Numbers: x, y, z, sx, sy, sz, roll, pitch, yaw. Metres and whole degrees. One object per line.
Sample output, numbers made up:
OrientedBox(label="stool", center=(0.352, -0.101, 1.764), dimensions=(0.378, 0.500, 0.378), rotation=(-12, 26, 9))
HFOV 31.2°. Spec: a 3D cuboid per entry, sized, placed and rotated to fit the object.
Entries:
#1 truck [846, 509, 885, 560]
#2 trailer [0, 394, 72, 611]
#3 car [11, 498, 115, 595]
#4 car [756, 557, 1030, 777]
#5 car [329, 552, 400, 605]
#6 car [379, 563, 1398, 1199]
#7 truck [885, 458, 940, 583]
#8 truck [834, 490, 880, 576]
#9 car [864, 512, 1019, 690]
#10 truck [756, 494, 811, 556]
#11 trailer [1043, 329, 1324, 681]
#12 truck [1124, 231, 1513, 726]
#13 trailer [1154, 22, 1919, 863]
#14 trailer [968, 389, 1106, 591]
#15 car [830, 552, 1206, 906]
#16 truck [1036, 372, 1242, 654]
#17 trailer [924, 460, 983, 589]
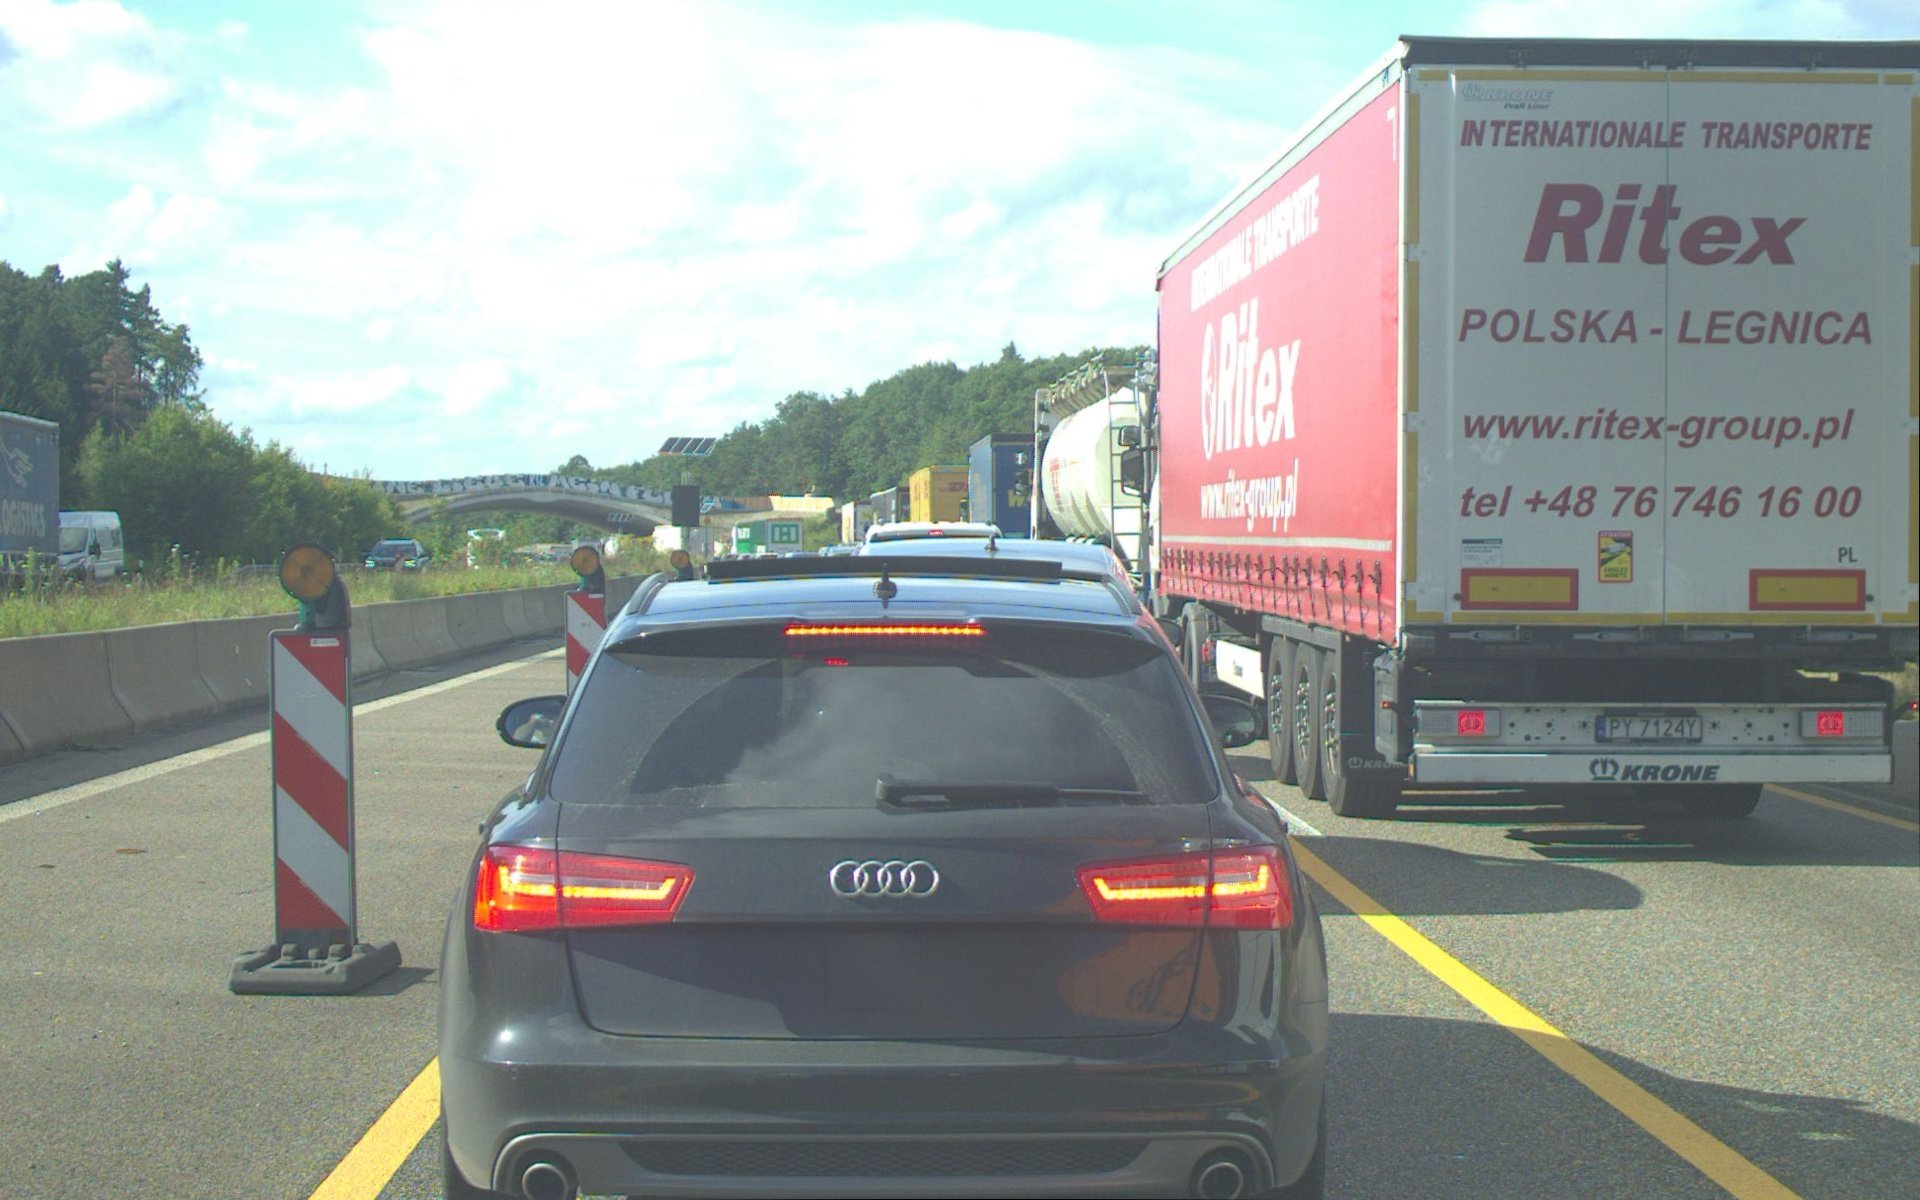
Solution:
OrientedBox(label="truck", center=(-6.581, -4.507, 238.300), dimensions=(2.566, 3.455, 7.399), rotation=(1, 0, -2))
OrientedBox(label="trailer", center=(-19.549, -1.849, 64.125), dimensions=(2.619, 4.127, 13.373), rotation=(1, 1, -1))
OrientedBox(label="car", center=(-25.398, -1.494, 97.466), dimensions=(2.250, 2.634, 5.021), rotation=(1, 0, -8))
OrientedBox(label="car", center=(-0.451, 0.418, 24.037), dimensions=(1.751, 1.392, 3.608), rotation=(1, 0, -1))
OrientedBox(label="car", center=(-19.418, -0.702, 112.242), dimensions=(1.715, 1.700, 3.523), rotation=(1, 0, -1))
OrientedBox(label="car", center=(-0.153, 0.651, 8.257), dimensions=(1.848, 1.458, 4.000), rotation=(0, 0, -1))
OrientedBox(label="truck", center=(-1.986, -3.233, 141.001), dimensions=(1.993, 4.897, 9.563), rotation=(1, 1, -2))
OrientedBox(label="truck", center=(-5.169, -3.333, 172.952), dimensions=(2.137, 4.243, 7.072), rotation=(1, 0, -1))
OrientedBox(label="car", center=(-0.209, 0.000, 37.397), dimensions=(1.581, 1.830, 3.112), rotation=(1, 0, -1))
OrientedBox(label="truck", center=(-12.274, -5.139, 238.692), dimensions=(3.303, 4.160, 9.704), rotation=(0, 0, -6))
OrientedBox(label="trailer", center=(2.667, -1.161, 45.033), dimensions=(2.644, 3.929, 12.598), rotation=(1, 1, -1))
OrientedBox(label="truck", center=(3.019, -1.017, 30.509), dimensions=(2.667, 3.946, 5.711), rotation=(1, 1, -1))
OrientedBox(label="trailer", center=(3.206, -0.852, 23.025), dimensions=(2.699, 3.955, 13.418), rotation=(1, 1, -1))
OrientedBox(label="trailer", center=(1.695, -2.457, 80.710), dimensions=(2.805, 4.398, 10.433), rotation=(1, 0, -1))
OrientedBox(label="car", center=(0.221, 0.516, 15.789), dimensions=(1.524, 1.434, 3.285), rotation=(1, 0, -1))
OrientedBox(label="truck", center=(2.597, -1.258, 51.607), dimensions=(2.659, 3.958, 5.779), rotation=(1, 0, -1))
OrientedBox(label="trailer", center=(-0.227, -2.330, 107.727), dimensions=(1.616, 3.905, 6.490), rotation=(1, 0, -1))
